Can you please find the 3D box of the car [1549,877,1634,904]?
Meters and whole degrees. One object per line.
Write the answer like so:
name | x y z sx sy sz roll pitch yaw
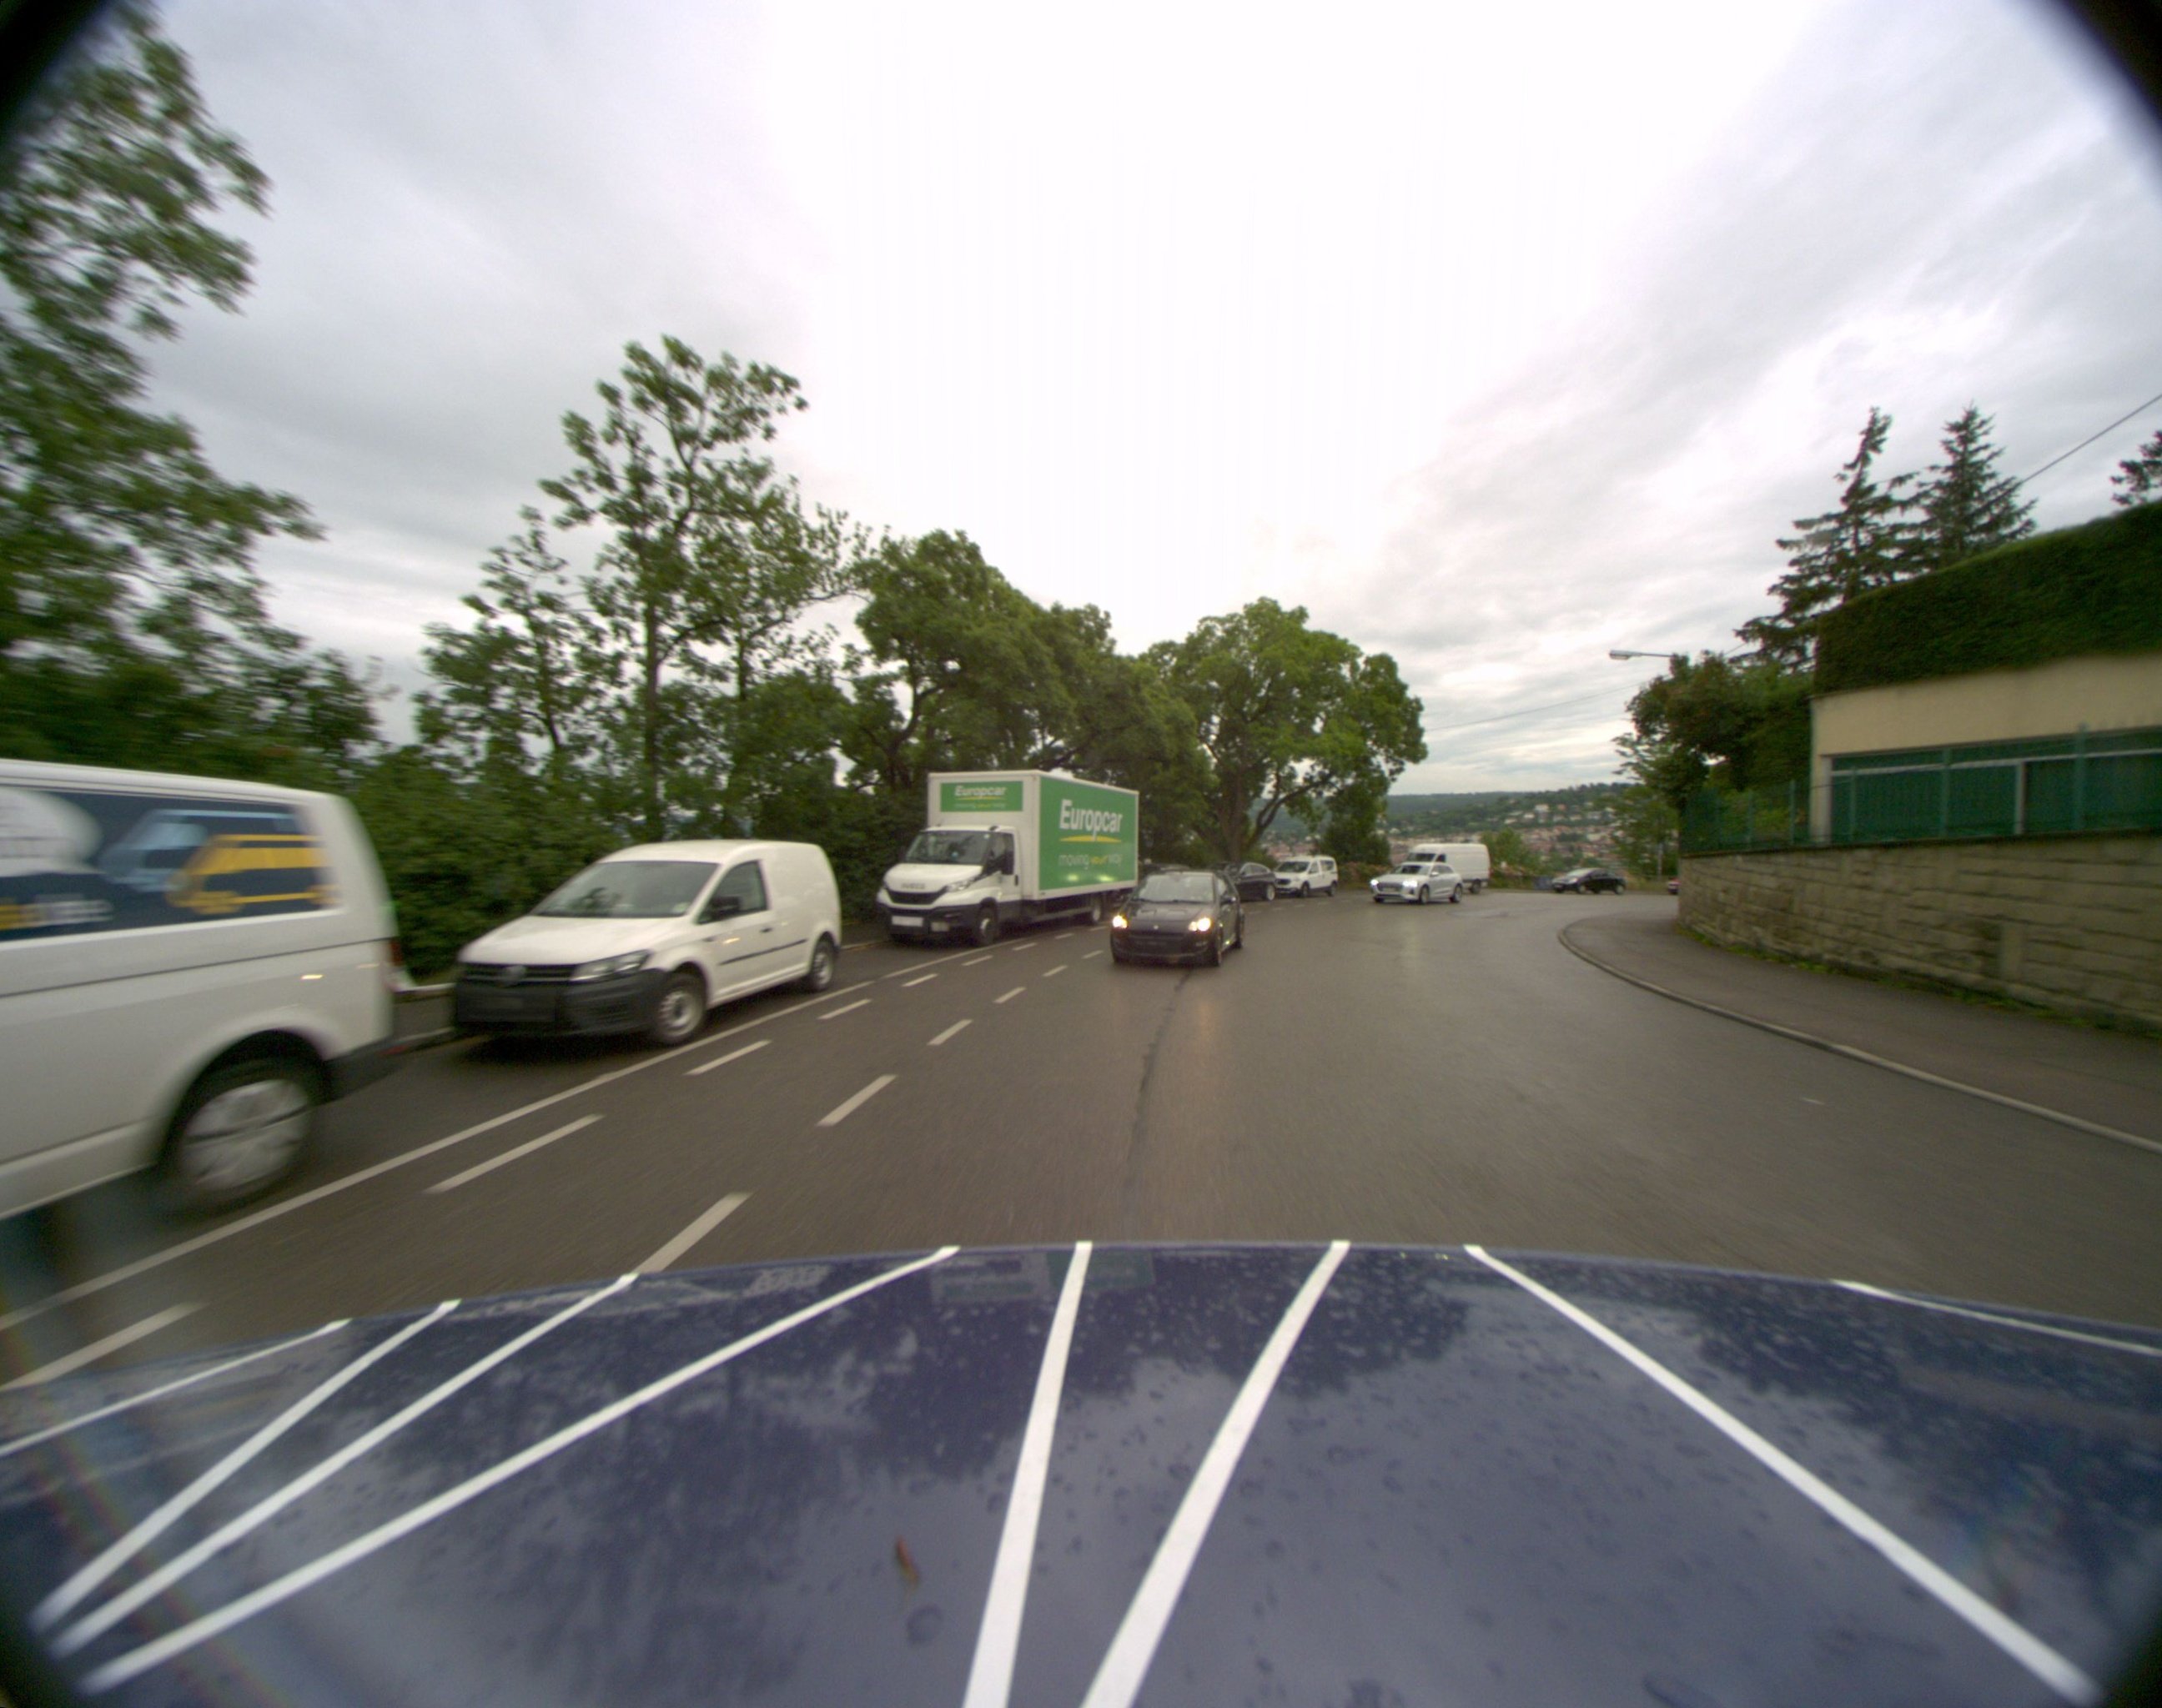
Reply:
car | 28.904 2.065 43.063 3.949 1.435 1.699 1 -1 -12

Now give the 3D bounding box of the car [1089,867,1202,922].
car | 2.134 1.206 24.097 1.734 1.494 4.144 1 1 34

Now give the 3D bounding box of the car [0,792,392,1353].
car | -4.636 0.758 1.725 1.865 1.936 4.806 0 0 -2

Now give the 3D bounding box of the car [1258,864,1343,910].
car | 9.661 1.360 33.204 1.747 1.810 4.433 2 1 42

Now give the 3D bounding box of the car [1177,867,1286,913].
car | 5.844 1.320 29.126 1.860 1.533 4.905 1 0 41

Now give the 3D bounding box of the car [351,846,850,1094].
car | -4.154 0.817 7.648 1.863 1.760 4.381 -1 0 7

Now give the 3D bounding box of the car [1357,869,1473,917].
car | 13.310 1.488 30.151 4.893 1.698 2.186 2 0 -39

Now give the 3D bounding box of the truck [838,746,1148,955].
truck | -1.276 -0.083 17.205 2.775 3.450 8.948 1 1 24

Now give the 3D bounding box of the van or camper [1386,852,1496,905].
van or camper | 18.910 1.205 39.814 5.896 2.566 2.068 -1 1 -28

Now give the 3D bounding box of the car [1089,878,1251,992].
car | 1.710 1.207 13.008 1.781 1.477 4.412 0 0 20
